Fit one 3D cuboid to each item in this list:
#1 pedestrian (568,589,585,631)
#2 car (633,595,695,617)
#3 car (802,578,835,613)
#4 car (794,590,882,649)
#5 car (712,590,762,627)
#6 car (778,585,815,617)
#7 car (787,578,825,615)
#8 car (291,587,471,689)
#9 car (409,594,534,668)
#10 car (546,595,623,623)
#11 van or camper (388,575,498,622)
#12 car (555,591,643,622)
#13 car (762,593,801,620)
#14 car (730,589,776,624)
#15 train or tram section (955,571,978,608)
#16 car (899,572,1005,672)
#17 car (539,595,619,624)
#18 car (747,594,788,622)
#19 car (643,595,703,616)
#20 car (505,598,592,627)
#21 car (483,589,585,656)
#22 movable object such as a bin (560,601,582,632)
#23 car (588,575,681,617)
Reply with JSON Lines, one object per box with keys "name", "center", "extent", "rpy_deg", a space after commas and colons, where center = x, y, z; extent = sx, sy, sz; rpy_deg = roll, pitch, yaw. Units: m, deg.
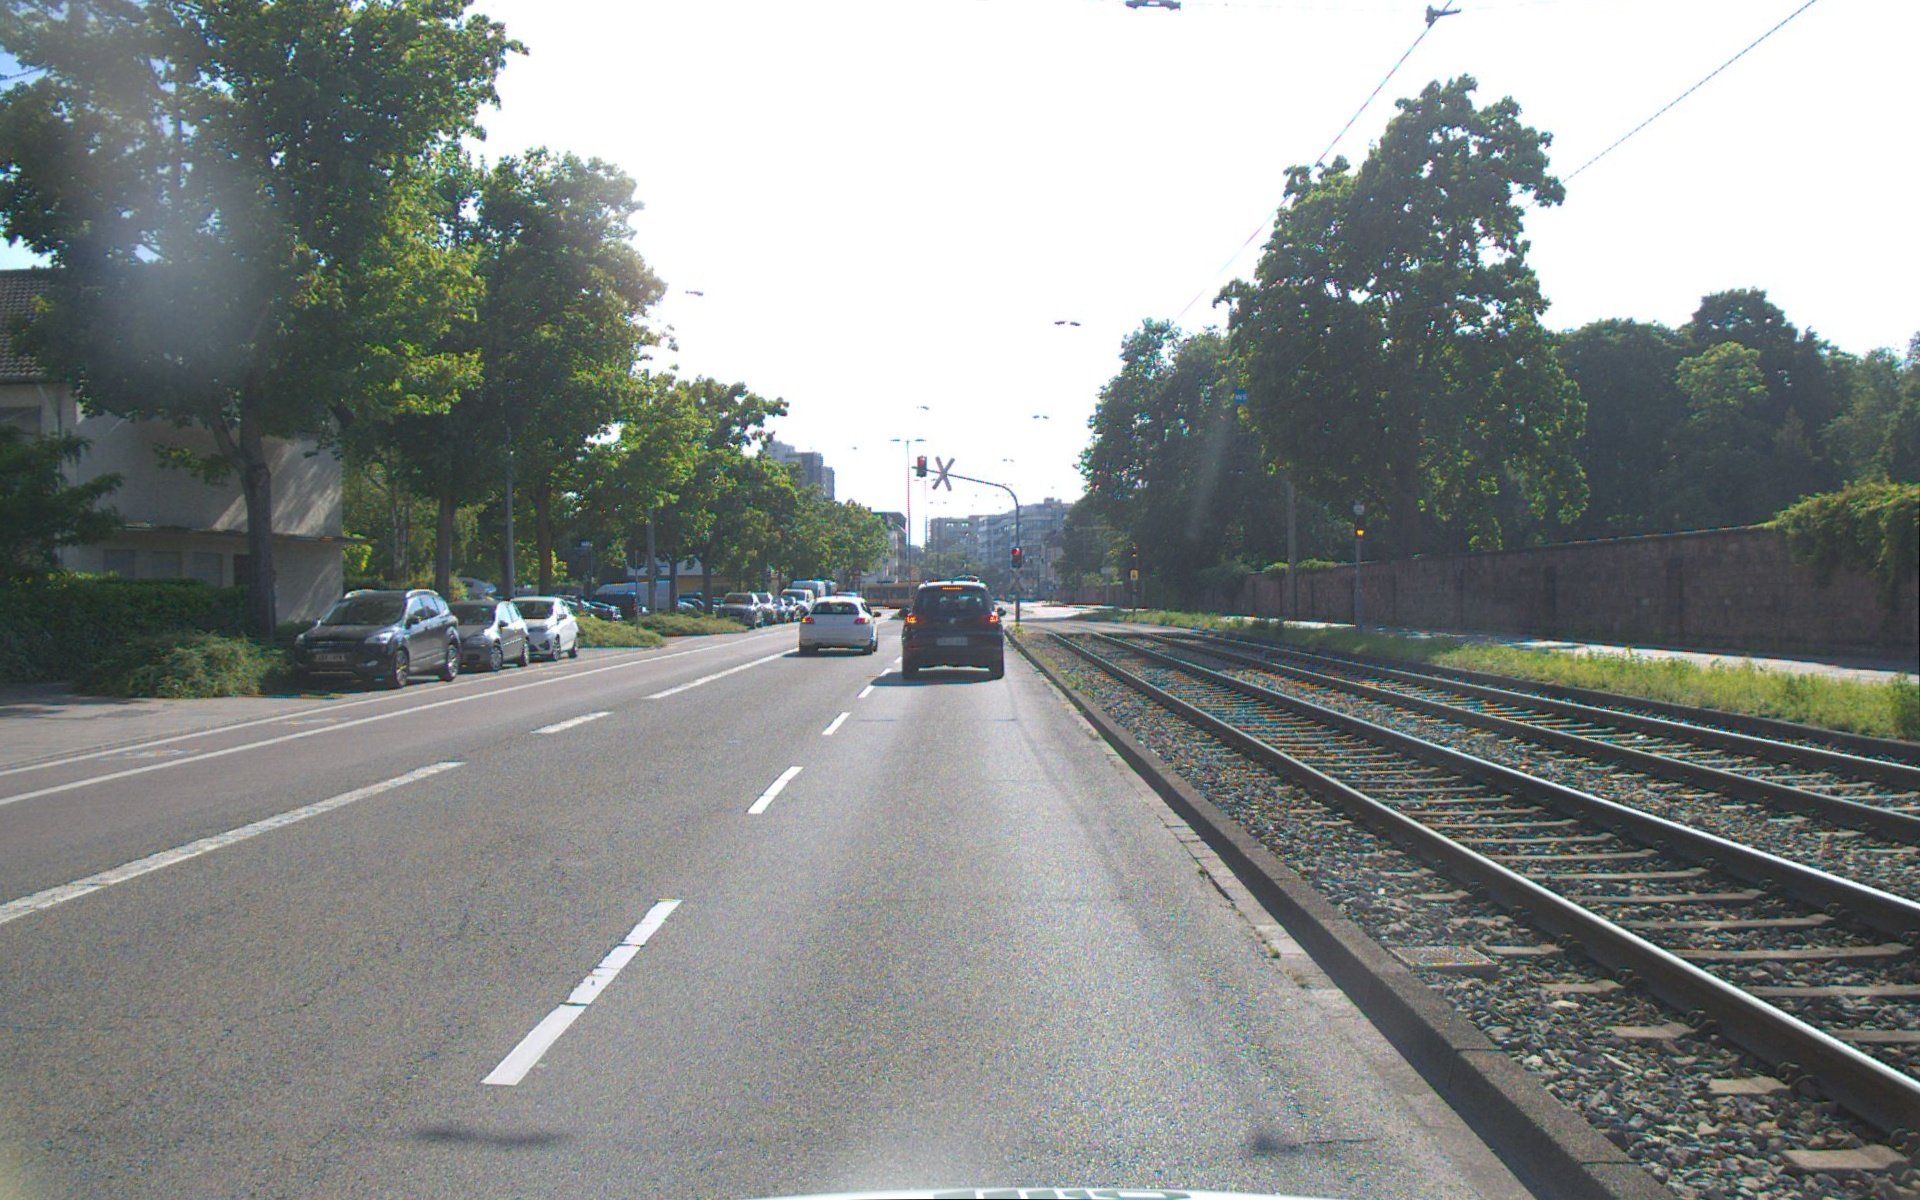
{"name": "pedestrian", "center": [-15.262, 0.389, 65.833], "extent": [0.513, 1.656, 0.610], "rpy_deg": [-1, 0, 0]}
{"name": "car", "center": [-20.190, 0.389, 112.991], "extent": [3.907, 1.422, 1.736], "rpy_deg": [-1, 0, -3]}
{"name": "car", "center": [-9.858, -0.321, 115.712], "extent": [1.696, 2.308, 4.646], "rpy_deg": [-1, 0, 2]}
{"name": "car", "center": [-2.975, 0.451, 41.034], "extent": [1.826, 1.371, 4.000], "rpy_deg": [0, 0, 0]}
{"name": "car", "center": [-10.611, 0.387, 79.028], "extent": [1.696, 1.687, 4.001], "rpy_deg": [-1, 0, 2]}
{"name": "car", "center": [-10.085, 0.063, 102.158], "extent": [1.696, 1.892, 4.490], "rpy_deg": [-1, 0, 2]}
{"name": "car", "center": [-10.109, -0.244, 108.884], "extent": [1.825, 2.388, 4.986], "rpy_deg": [-1, 0, 2]}
{"name": "car", "center": [-10.508, 0.627, 30.358], "extent": [1.677, 1.723, 4.423], "rpy_deg": [-1, 0, 1]}
{"name": "car", "center": [-10.581, 0.628, 36.091], "extent": [1.643, 1.494, 3.967], "rpy_deg": [-1, 0, -2]}
{"name": "car", "center": [-20.790, 0.499, 91.681], "extent": [3.907, 1.422, 1.736], "rpy_deg": [-1, 0, -3]}
{"name": "van or camper", "center": [-33.369, -0.103, 106.836], "extent": [6.330, 2.918, 2.307], "rpy_deg": [0, 0, 1]}
{"name": "car", "center": [-20.495, 0.358, 94.069], "extent": [4.524, 1.680, 2.048], "rpy_deg": [-1, 0, -2]}
{"name": "car", "center": [-10.430, 0.369, 96.891], "extent": [1.696, 1.475, 3.736], "rpy_deg": [-1, 1, 2]}
{"name": "car", "center": [-10.582, 0.309, 84.697], "extent": [1.696, 1.724, 4.001], "rpy_deg": [-1, 1, 2]}
{"name": "train or tram section", "center": [0.690, -1.056, 169.358], "extent": [2.279, 3.632, 8.900], "rpy_deg": [-1, 0, 1]}
{"name": "car", "center": [-0.109, 0.372, 29.797], "extent": [1.774, 1.673, 4.000], "rpy_deg": [0, 0, 0]}
{"name": "car", "center": [-20.432, 0.509, 88.718], "extent": [3.907, 1.422, 1.736], "rpy_deg": [-1, 0, -3]}
{"name": "car", "center": [-10.576, 0.420, 91.008], "extent": [1.696, 1.413, 3.736], "rpy_deg": [-1, 1, 2]}
{"name": "car", "center": [-19.960, 0.380, 115.221], "extent": [3.907, 1.422, 1.736], "rpy_deg": [-1, 0, -3]}
{"name": "car", "center": [-20.676, 0.630, 83.212], "extent": [3.907, 1.330, 1.736], "rpy_deg": [-1, 0, -3]}
{"name": "car", "center": [-10.685, 0.532, 41.731], "extent": [1.568, 1.577, 3.894], "rpy_deg": [1, 0, -1]}
{"name": "movable object such as a bin", "center": [-15.273, 0.637, 64.893], "extent": [0.531, 1.166, 1.261], "rpy_deg": [-1, 0, 1]}
{"name": "car", "center": [-20.077, -0.221, 102.075], "extent": [5.265, 2.466, 2.088], "rpy_deg": [-1, 0, 0]}
